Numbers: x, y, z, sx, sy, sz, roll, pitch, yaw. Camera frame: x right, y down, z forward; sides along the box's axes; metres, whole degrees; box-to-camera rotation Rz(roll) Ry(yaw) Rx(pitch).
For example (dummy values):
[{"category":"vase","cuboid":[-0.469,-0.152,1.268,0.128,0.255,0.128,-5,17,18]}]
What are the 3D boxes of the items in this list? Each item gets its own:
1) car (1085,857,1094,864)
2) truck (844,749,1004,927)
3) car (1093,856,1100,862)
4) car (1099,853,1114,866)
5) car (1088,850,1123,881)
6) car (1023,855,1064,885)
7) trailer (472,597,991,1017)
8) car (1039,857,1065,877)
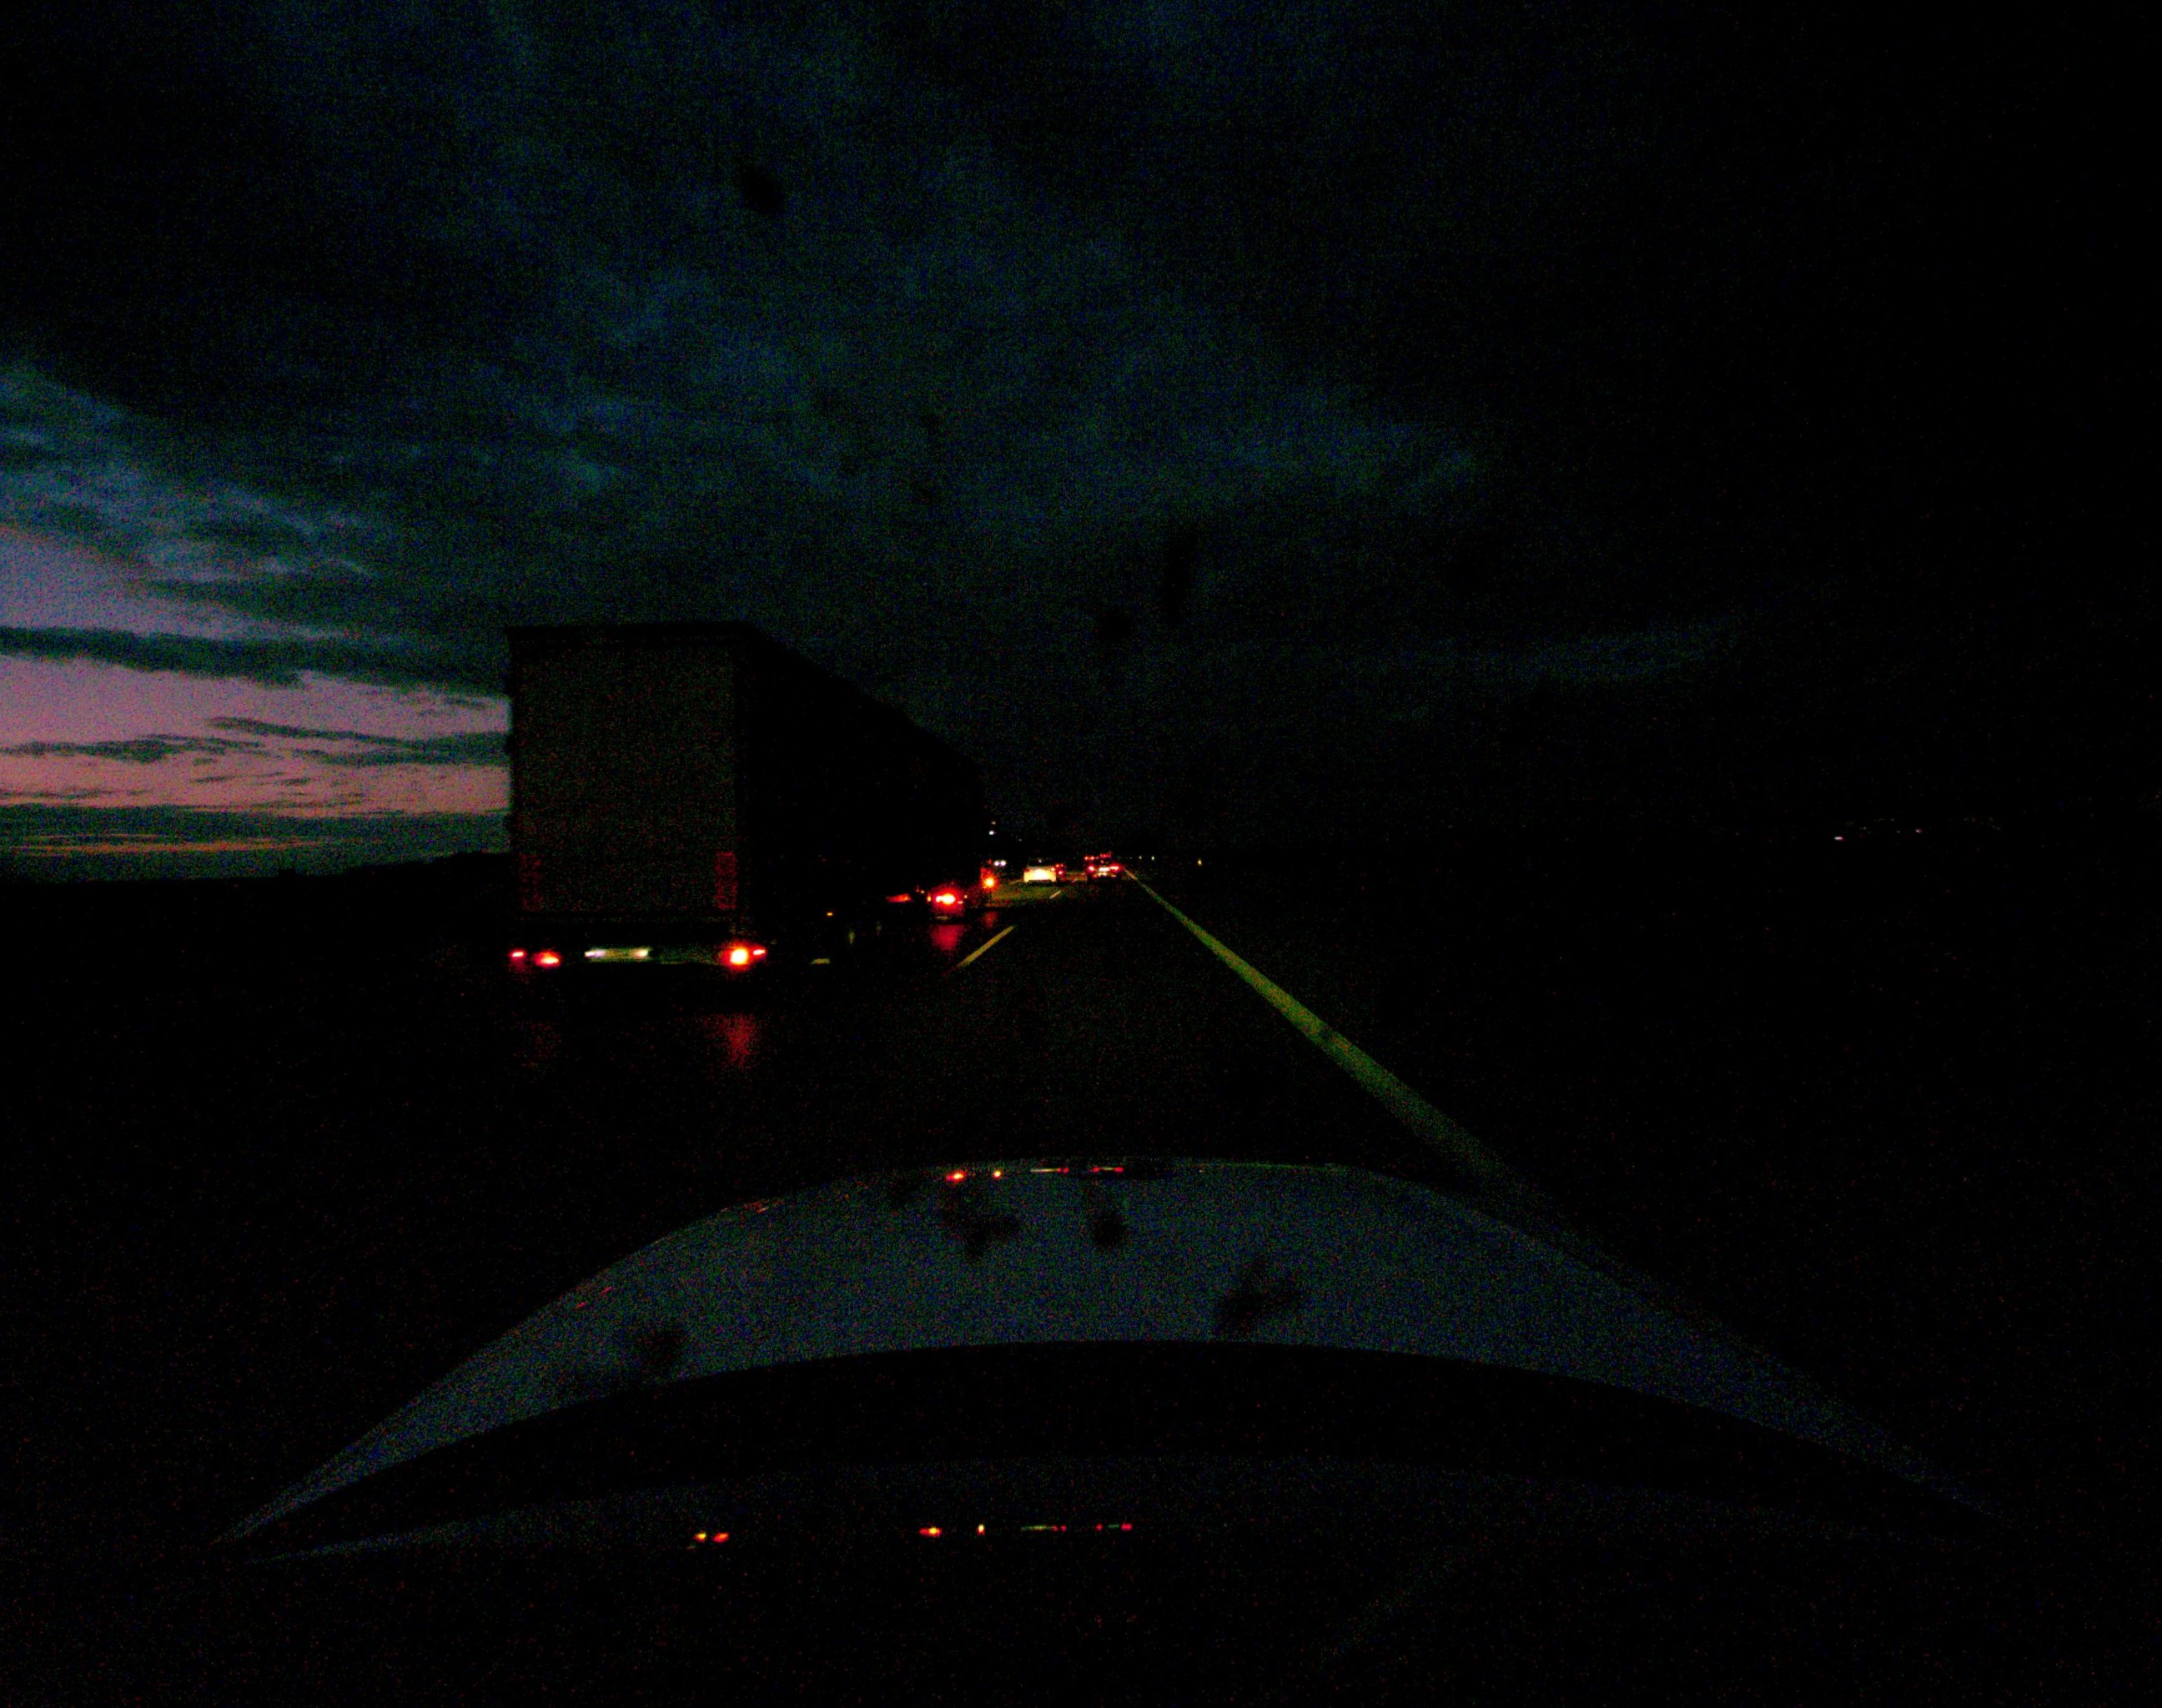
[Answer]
[{"category":"car","cuboid":[1.763,1.398,170.721,1.873,1.552,4.001,0,-1,1]},{"category":"truck","cuboid":[-3.970,-0.347,22.079,2.766,4.093,6.107,-2,-1,3]},{"category":"car","cuboid":[5.008,1.582,259.382,2.191,1.879,4.001,0,-1,2]},{"category":"car","cuboid":[3.189,0.689,104.039,1.873,1.552,4.001,0,-1,1]},{"category":"car","cuboid":[1.367,0.632,45.700,1.873,1.643,4.001,0,-1,2]},{"category":"car","cuboid":[-1.944,0.823,43.380,1.737,1.525,4.416,0,-1,2]},{"category":"trailer","cuboid":[-4.291,-0.394,15.332,2.783,4.085,14.535,-2,-1,3]},{"category":"car","cuboid":[-2.200,0.963,62.632,1.716,1.471,4.727,0,-1,1]}]
